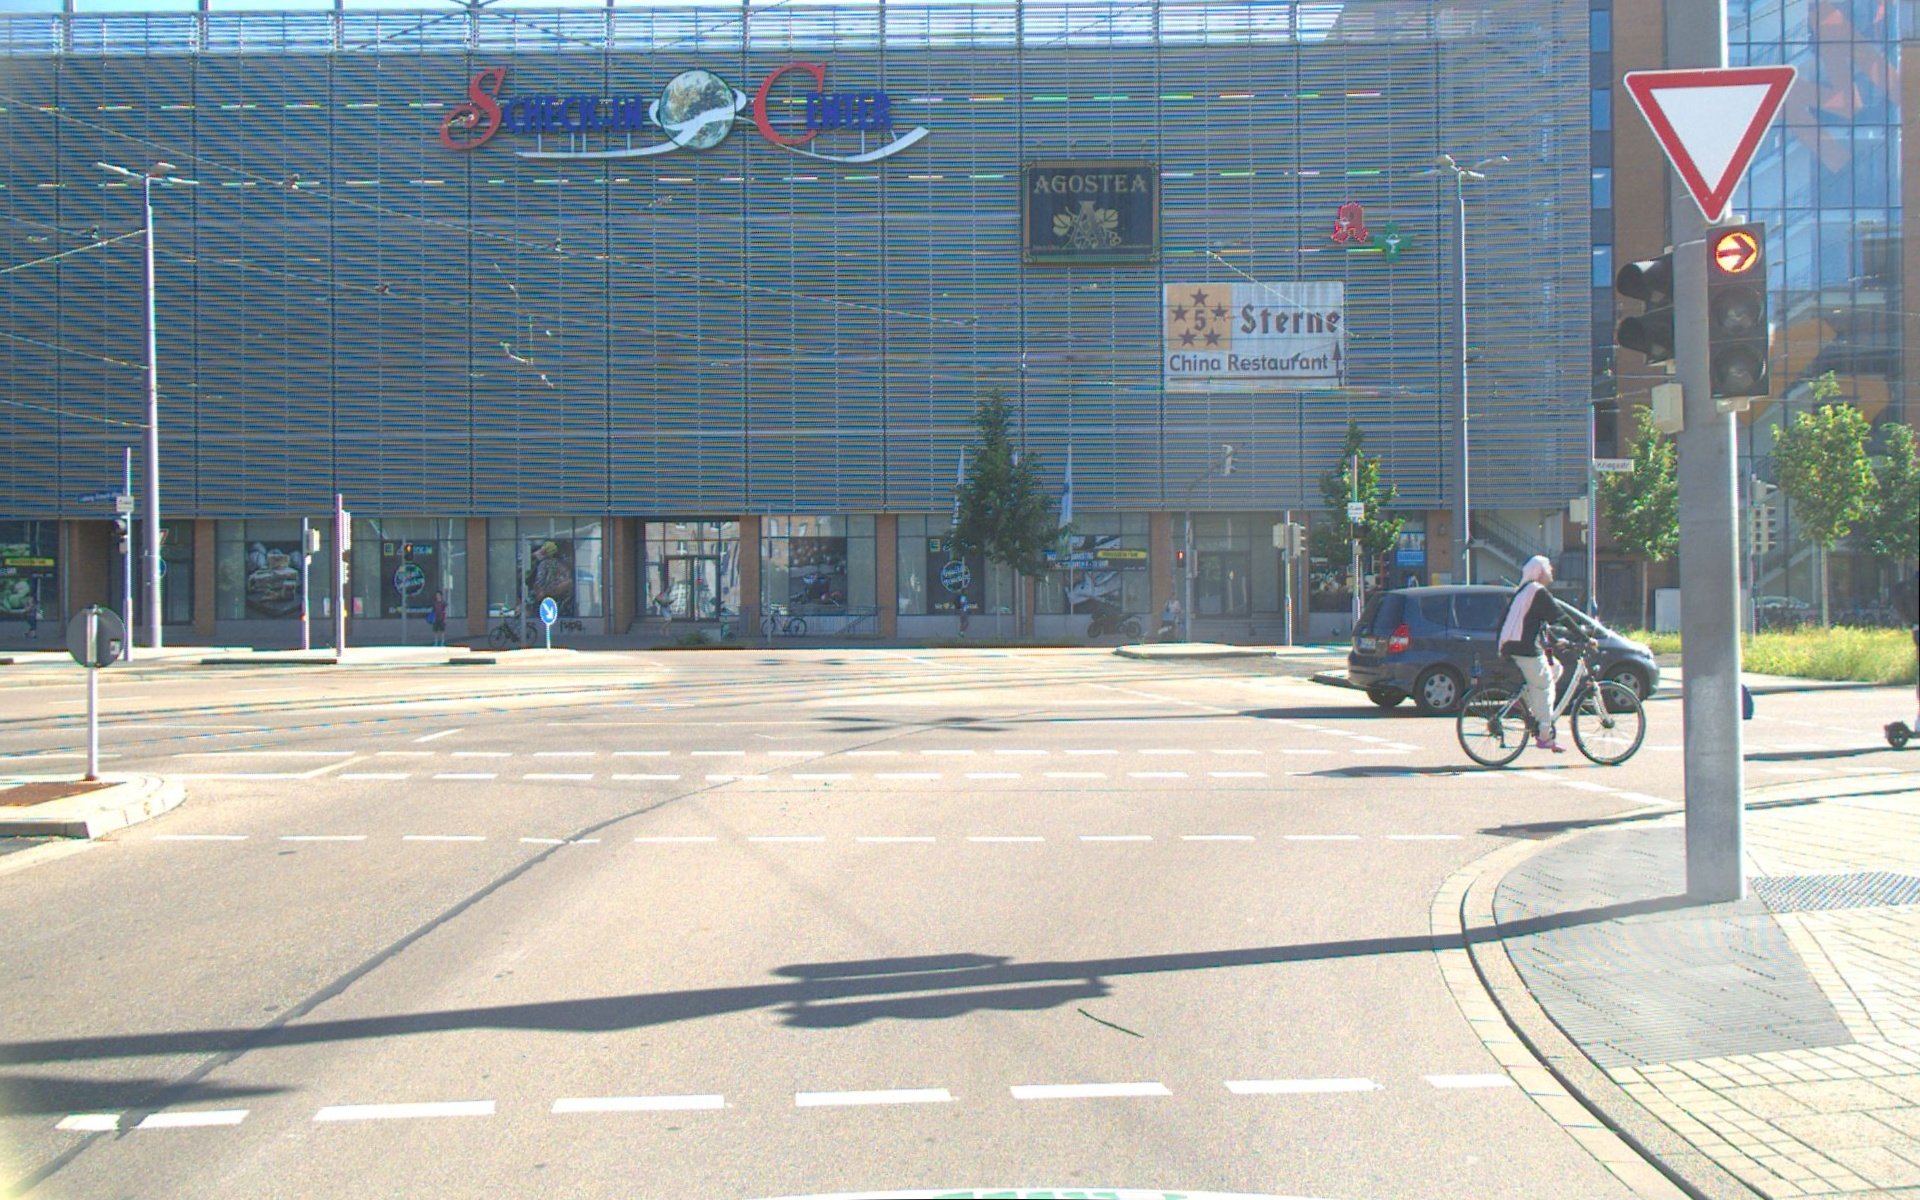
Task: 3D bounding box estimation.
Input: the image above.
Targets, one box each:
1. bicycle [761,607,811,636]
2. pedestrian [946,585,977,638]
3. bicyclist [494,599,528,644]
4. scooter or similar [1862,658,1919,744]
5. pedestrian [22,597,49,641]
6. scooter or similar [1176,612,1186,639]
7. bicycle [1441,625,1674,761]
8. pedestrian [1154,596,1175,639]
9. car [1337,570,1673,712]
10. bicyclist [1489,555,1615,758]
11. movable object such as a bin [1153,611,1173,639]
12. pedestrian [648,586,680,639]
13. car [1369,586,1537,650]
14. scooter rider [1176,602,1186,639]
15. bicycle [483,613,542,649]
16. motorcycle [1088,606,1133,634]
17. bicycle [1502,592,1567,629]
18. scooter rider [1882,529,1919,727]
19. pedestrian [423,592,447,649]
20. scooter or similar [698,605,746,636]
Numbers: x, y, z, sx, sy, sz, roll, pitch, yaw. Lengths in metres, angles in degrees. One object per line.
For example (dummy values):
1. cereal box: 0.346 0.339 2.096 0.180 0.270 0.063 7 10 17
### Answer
1. bicycle: -6.363 0.783 60.432 1.783 1.006 0.556 0 1 -11
2. pedestrian: 0.063 0.412 59.352 0.991 1.860 1.036 -2 0 3
3. bicyclist: -14.797 0.694 54.544 0.663 1.452 0.844 0 2 42
4. scooter or similar: 9.560 0.984 16.172 1.186 0.799 0.613 1 0 -11
5. pedestrian: -34.828 0.707 62.320 0.646 1.629 0.594 1 -1 18
6. scooter or similar: 7.369 0.838 55.189 0.288 0.888 1.004 1 0 10
7. bicycle: 5.238 0.810 14.530 1.864 1.157 0.580 1 0 -7
8. pedestrian: 6.859 0.582 55.363 0.641 1.438 0.850 1 0 10
9. car: 6.692 0.471 20.483 3.619 1.674 1.644 0 0 -7
10. bicyclist: 5.192 0.490 14.526 0.866 1.736 0.573 1 -1 -7
11. movable object such as a bin: 6.744 0.836 54.896 0.599 0.920 0.970 1 0 10
12. pedestrian: -10.718 0.453 59.907 0.930 1.860 0.846 -2 0 5
13. car: 13.672 0.500 46.045 4.063 1.495 1.840 3 -1 -2
14. scooter rider: 7.363 0.671 55.129 0.282 1.221 0.386 1 -1 10
15. bicycle: -14.765 1.011 54.619 0.559 1.105 1.852 0 2 42
16. motorcycle: 5.532 0.732 60.707 1.605 1.022 0.447 1 0 6
17. bicycle: 21.291 0.395 61.350 2.209 1.318 0.605 1 -1 -2
18. scooter rider: 9.562 0.274 16.170 0.770 1.905 0.572 1 -1 -11
19. pedestrian: -17.336 0.667 54.668 0.683 1.829 0.727 -2 0 -17
20. scooter or similar: -8.743 0.752 60.779 1.759 1.085 0.611 0 1 -9
